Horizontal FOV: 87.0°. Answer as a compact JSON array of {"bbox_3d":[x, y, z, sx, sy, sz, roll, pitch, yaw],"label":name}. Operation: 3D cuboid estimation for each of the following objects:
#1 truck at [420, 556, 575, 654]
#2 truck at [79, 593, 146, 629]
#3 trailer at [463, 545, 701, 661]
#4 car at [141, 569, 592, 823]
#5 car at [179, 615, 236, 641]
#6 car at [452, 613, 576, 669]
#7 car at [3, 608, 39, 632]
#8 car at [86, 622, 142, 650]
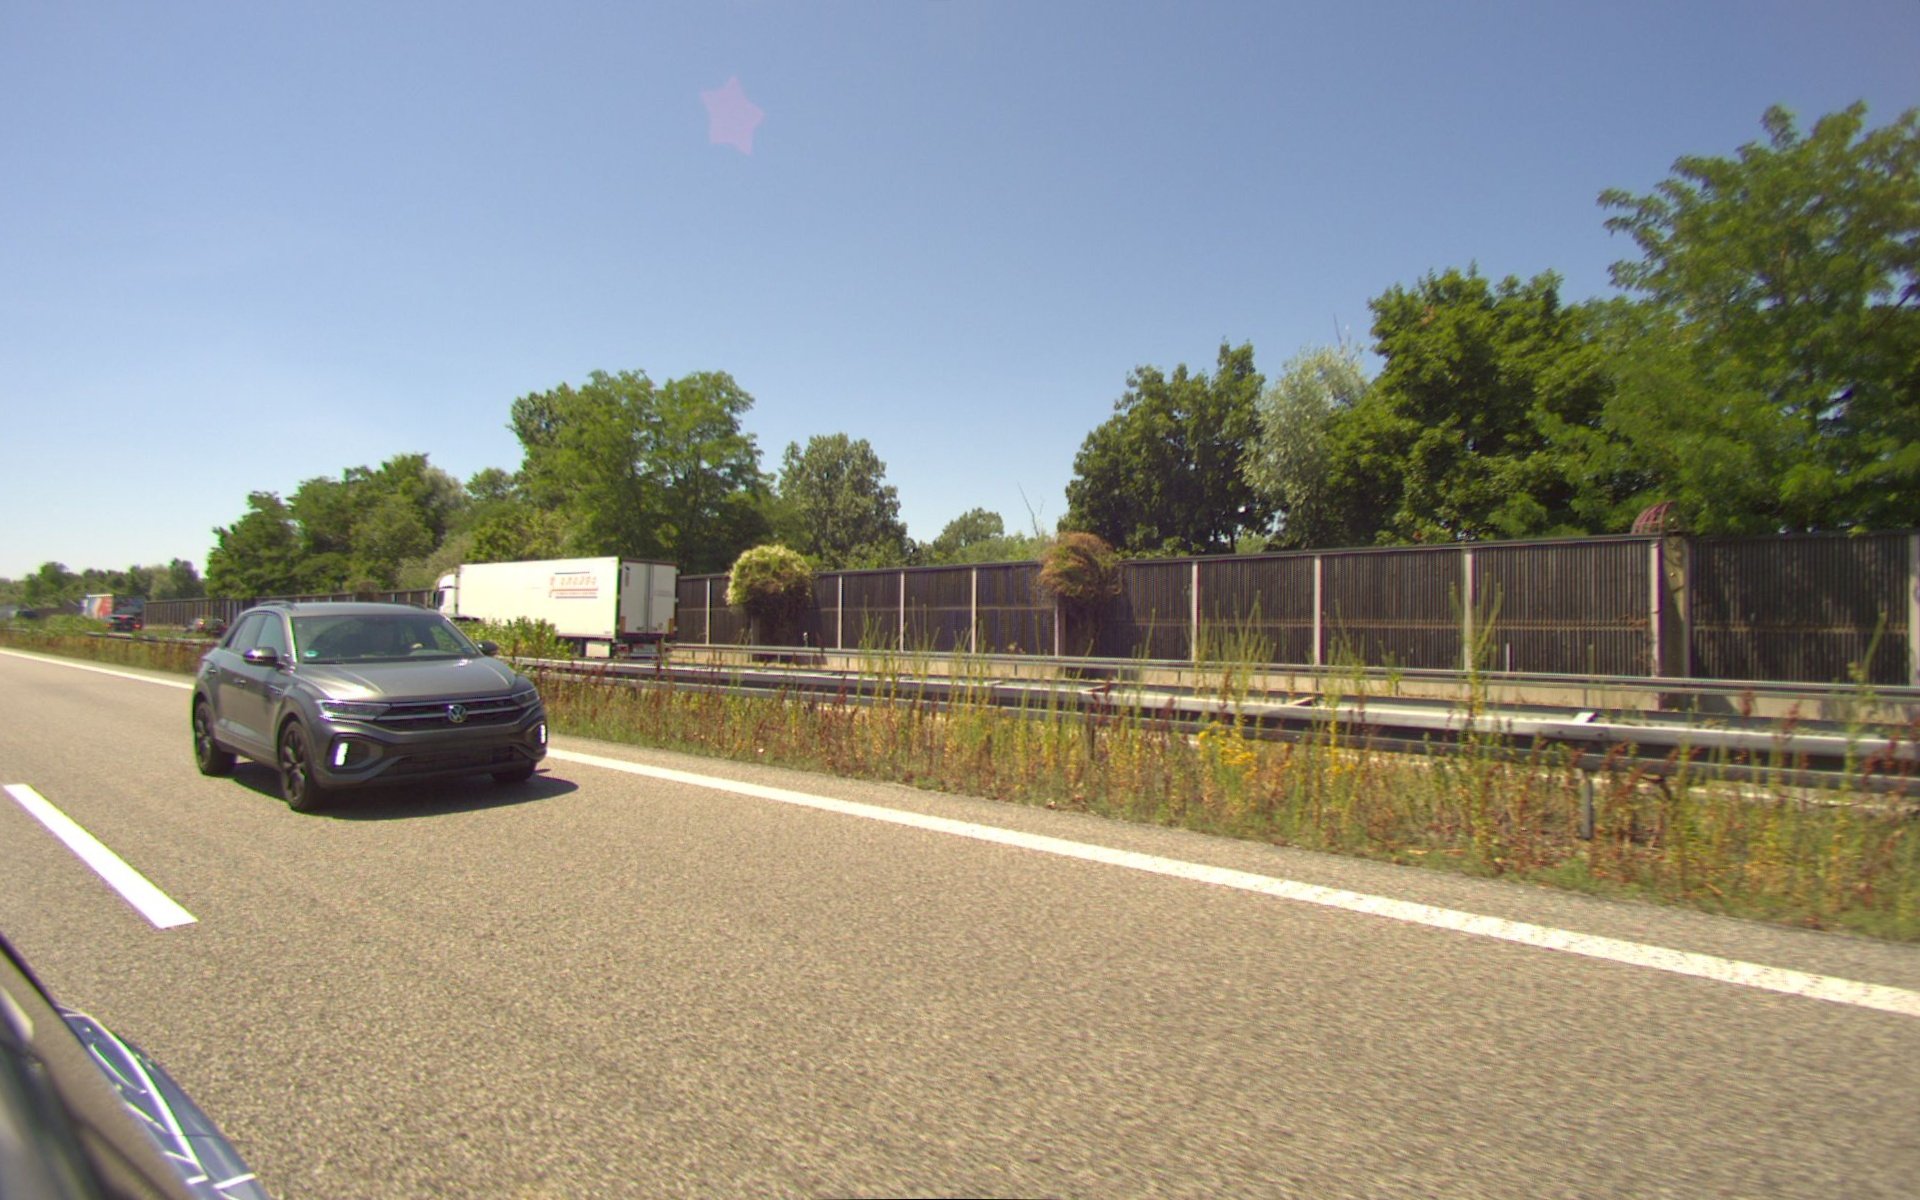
[{"bbox_3d":[-21.344,0.311,46.535,7.835,4.135,3.544,-1,-2,41],"label":"truck"},{"bbox_3d":[-87.186,1.253,103.907,16.997,3.367,2.808,-2,-1,42],"label":"truck"},{"bbox_3d":[-15.925,0.242,41.709,12.790,4.135,3.573,-1,-2,41],"label":"trailer"},{"bbox_3d":[-5.436,0.702,8.937,5.004,1.652,1.861,-2,-2,40],"label":"car"},{"bbox_3d":[-47.211,1.750,63.462,4.504,1.608,1.973,-1,-2,41],"label":"car"},{"bbox_3d":[-13.820,1.233,31.236,4.438,1.608,1.803,-1,-2,41],"label":"car"},{"bbox_3d":[-110.030,2.390,118.533,7.581,2.582,2.292,-1,3,42],"label":"car"},{"bbox_3d":[-50.567,2.111,60.463,4.746,1.608,1.803,-1,-2,41],"label":"car"}]
